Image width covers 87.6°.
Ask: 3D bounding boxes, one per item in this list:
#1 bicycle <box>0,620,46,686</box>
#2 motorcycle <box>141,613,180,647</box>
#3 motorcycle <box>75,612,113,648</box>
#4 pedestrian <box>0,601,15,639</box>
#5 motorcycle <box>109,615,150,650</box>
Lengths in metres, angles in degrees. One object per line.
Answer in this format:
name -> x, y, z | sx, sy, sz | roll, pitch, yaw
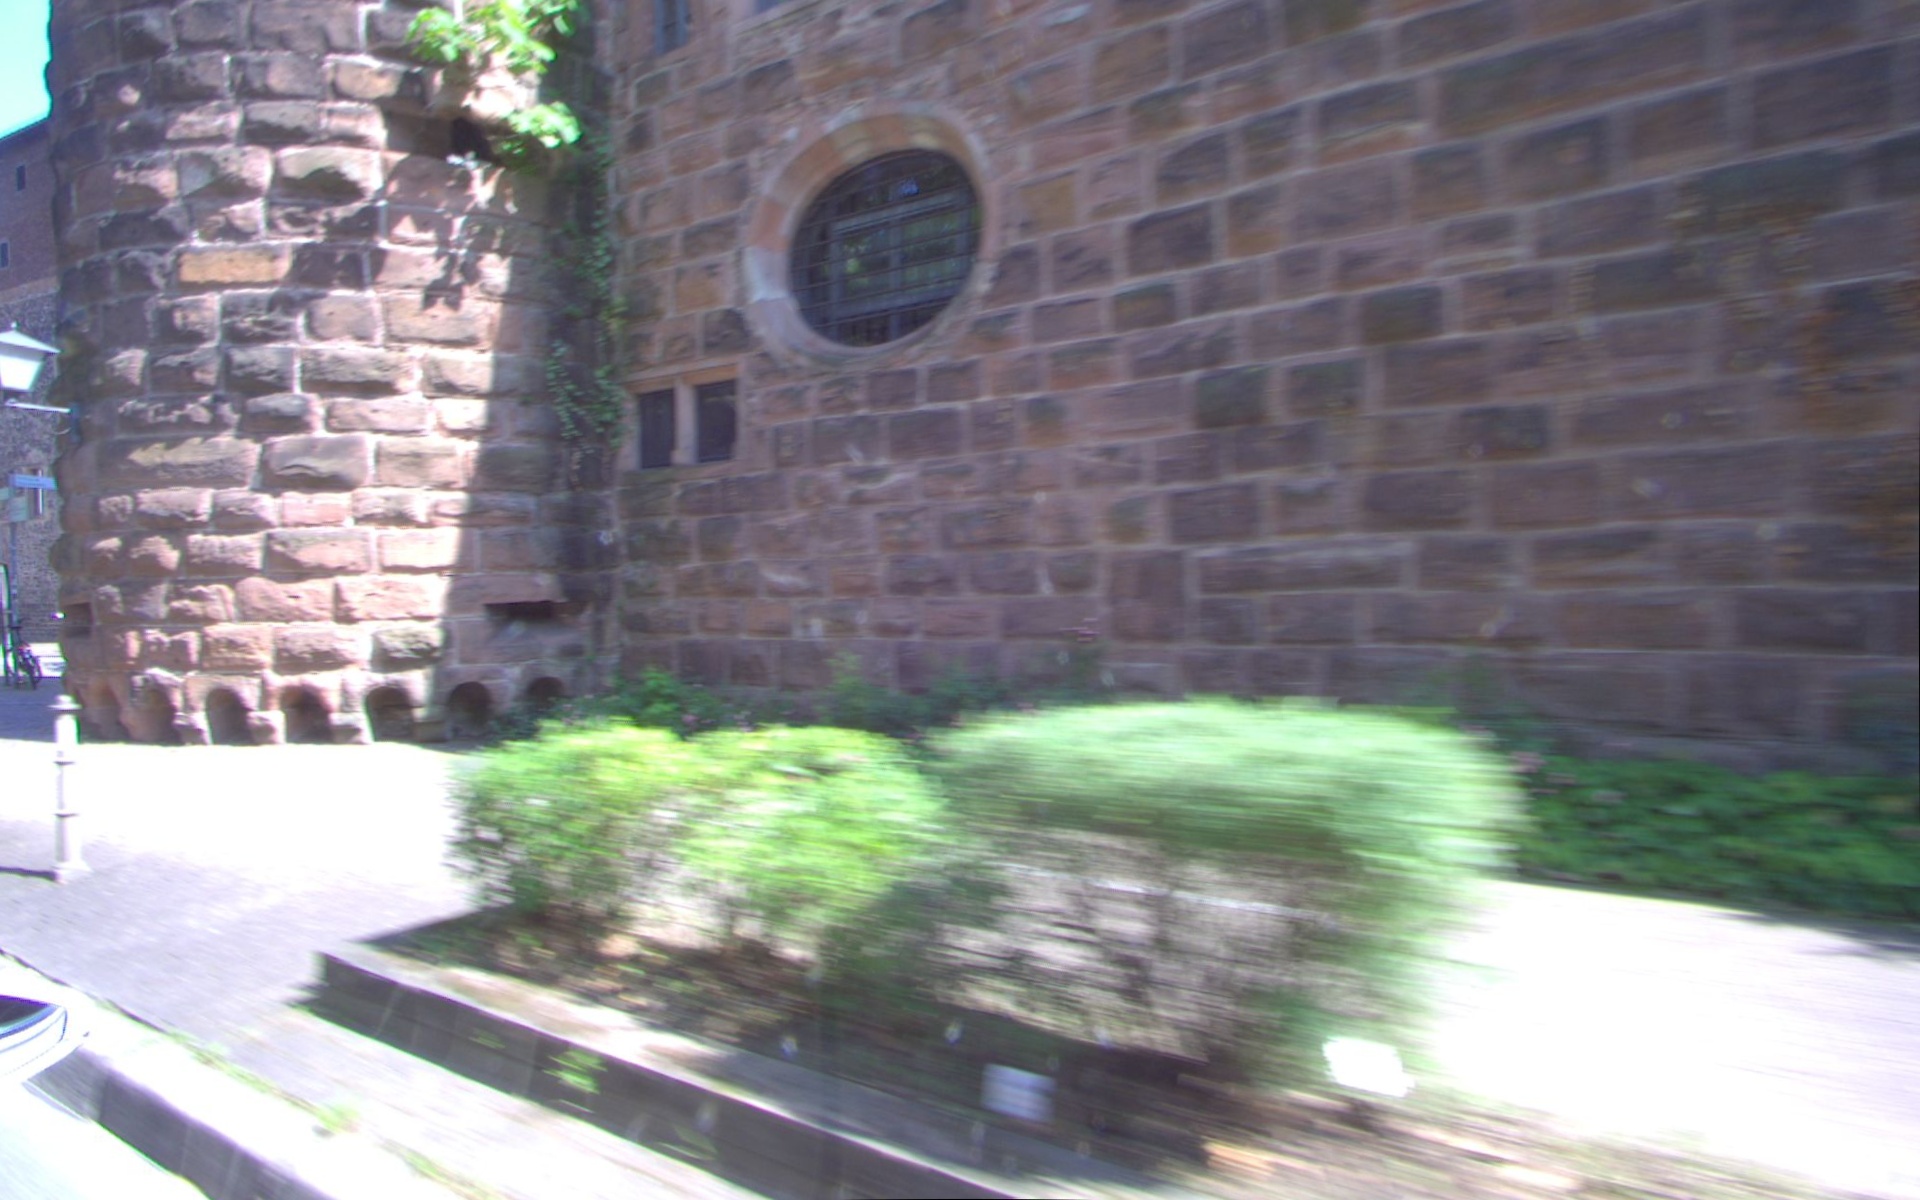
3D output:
bicycle -> -15.929, 0.868, 16.911 | 2.027, 1.044, 0.493 | -1, -1, 41
motorcycle -> -23.624, 0.879, 29.595 | 1.446, 0.985, 0.457 | 0, -2, 33
motorcycle -> -24.199, 0.829, 27.966 | 1.339, 0.985, 0.435 | 0, -2, 33
pedestrian -> -39.193, 0.811, 40.933 | 0.618, 1.537, 0.656 | 0, -2, 34
motorcycle -> -23.563, 0.925, 28.407 | 1.446, 0.985, 0.457 | 0, -2, 33
